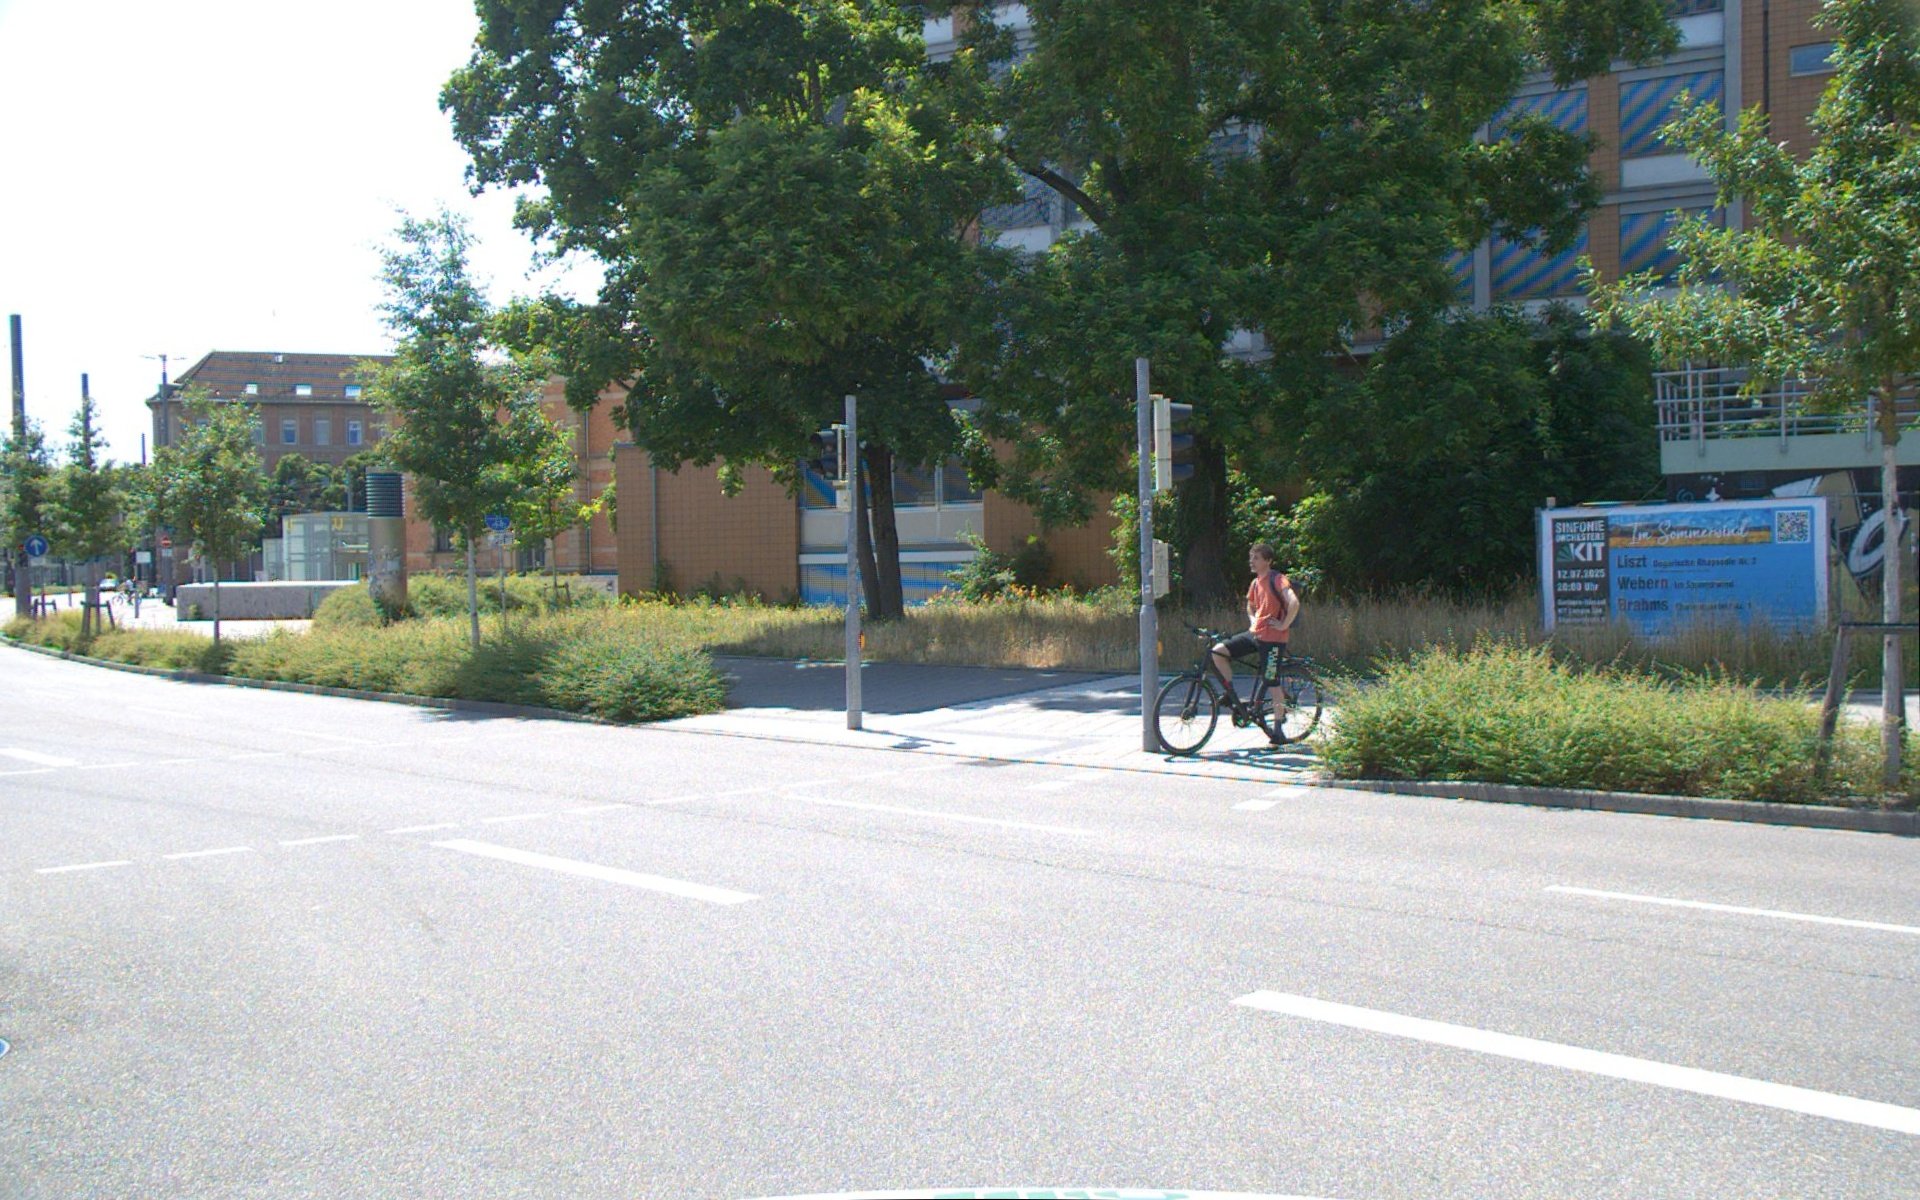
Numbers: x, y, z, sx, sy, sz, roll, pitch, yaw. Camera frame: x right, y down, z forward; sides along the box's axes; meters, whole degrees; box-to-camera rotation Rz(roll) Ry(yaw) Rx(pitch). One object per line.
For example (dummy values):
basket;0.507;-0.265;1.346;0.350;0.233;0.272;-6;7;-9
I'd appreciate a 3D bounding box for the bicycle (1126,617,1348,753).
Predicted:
bicycle;2.504;0.739;14.880;1.962;1.063;0.555;-2;3;-22

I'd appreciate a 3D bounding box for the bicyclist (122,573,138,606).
bicyclist;-51.298;-0.643;102.219;0.757;1.971;0.652;-1;2;-36

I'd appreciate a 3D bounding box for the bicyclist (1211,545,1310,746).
bicyclist;2.716;0.390;14.950;0.691;1.745;0.548;-2;3;-22

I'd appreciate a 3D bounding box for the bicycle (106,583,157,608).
bicycle;-51.231;-0.272;102.280;2.804;1.488;0.626;-1;3;-37
